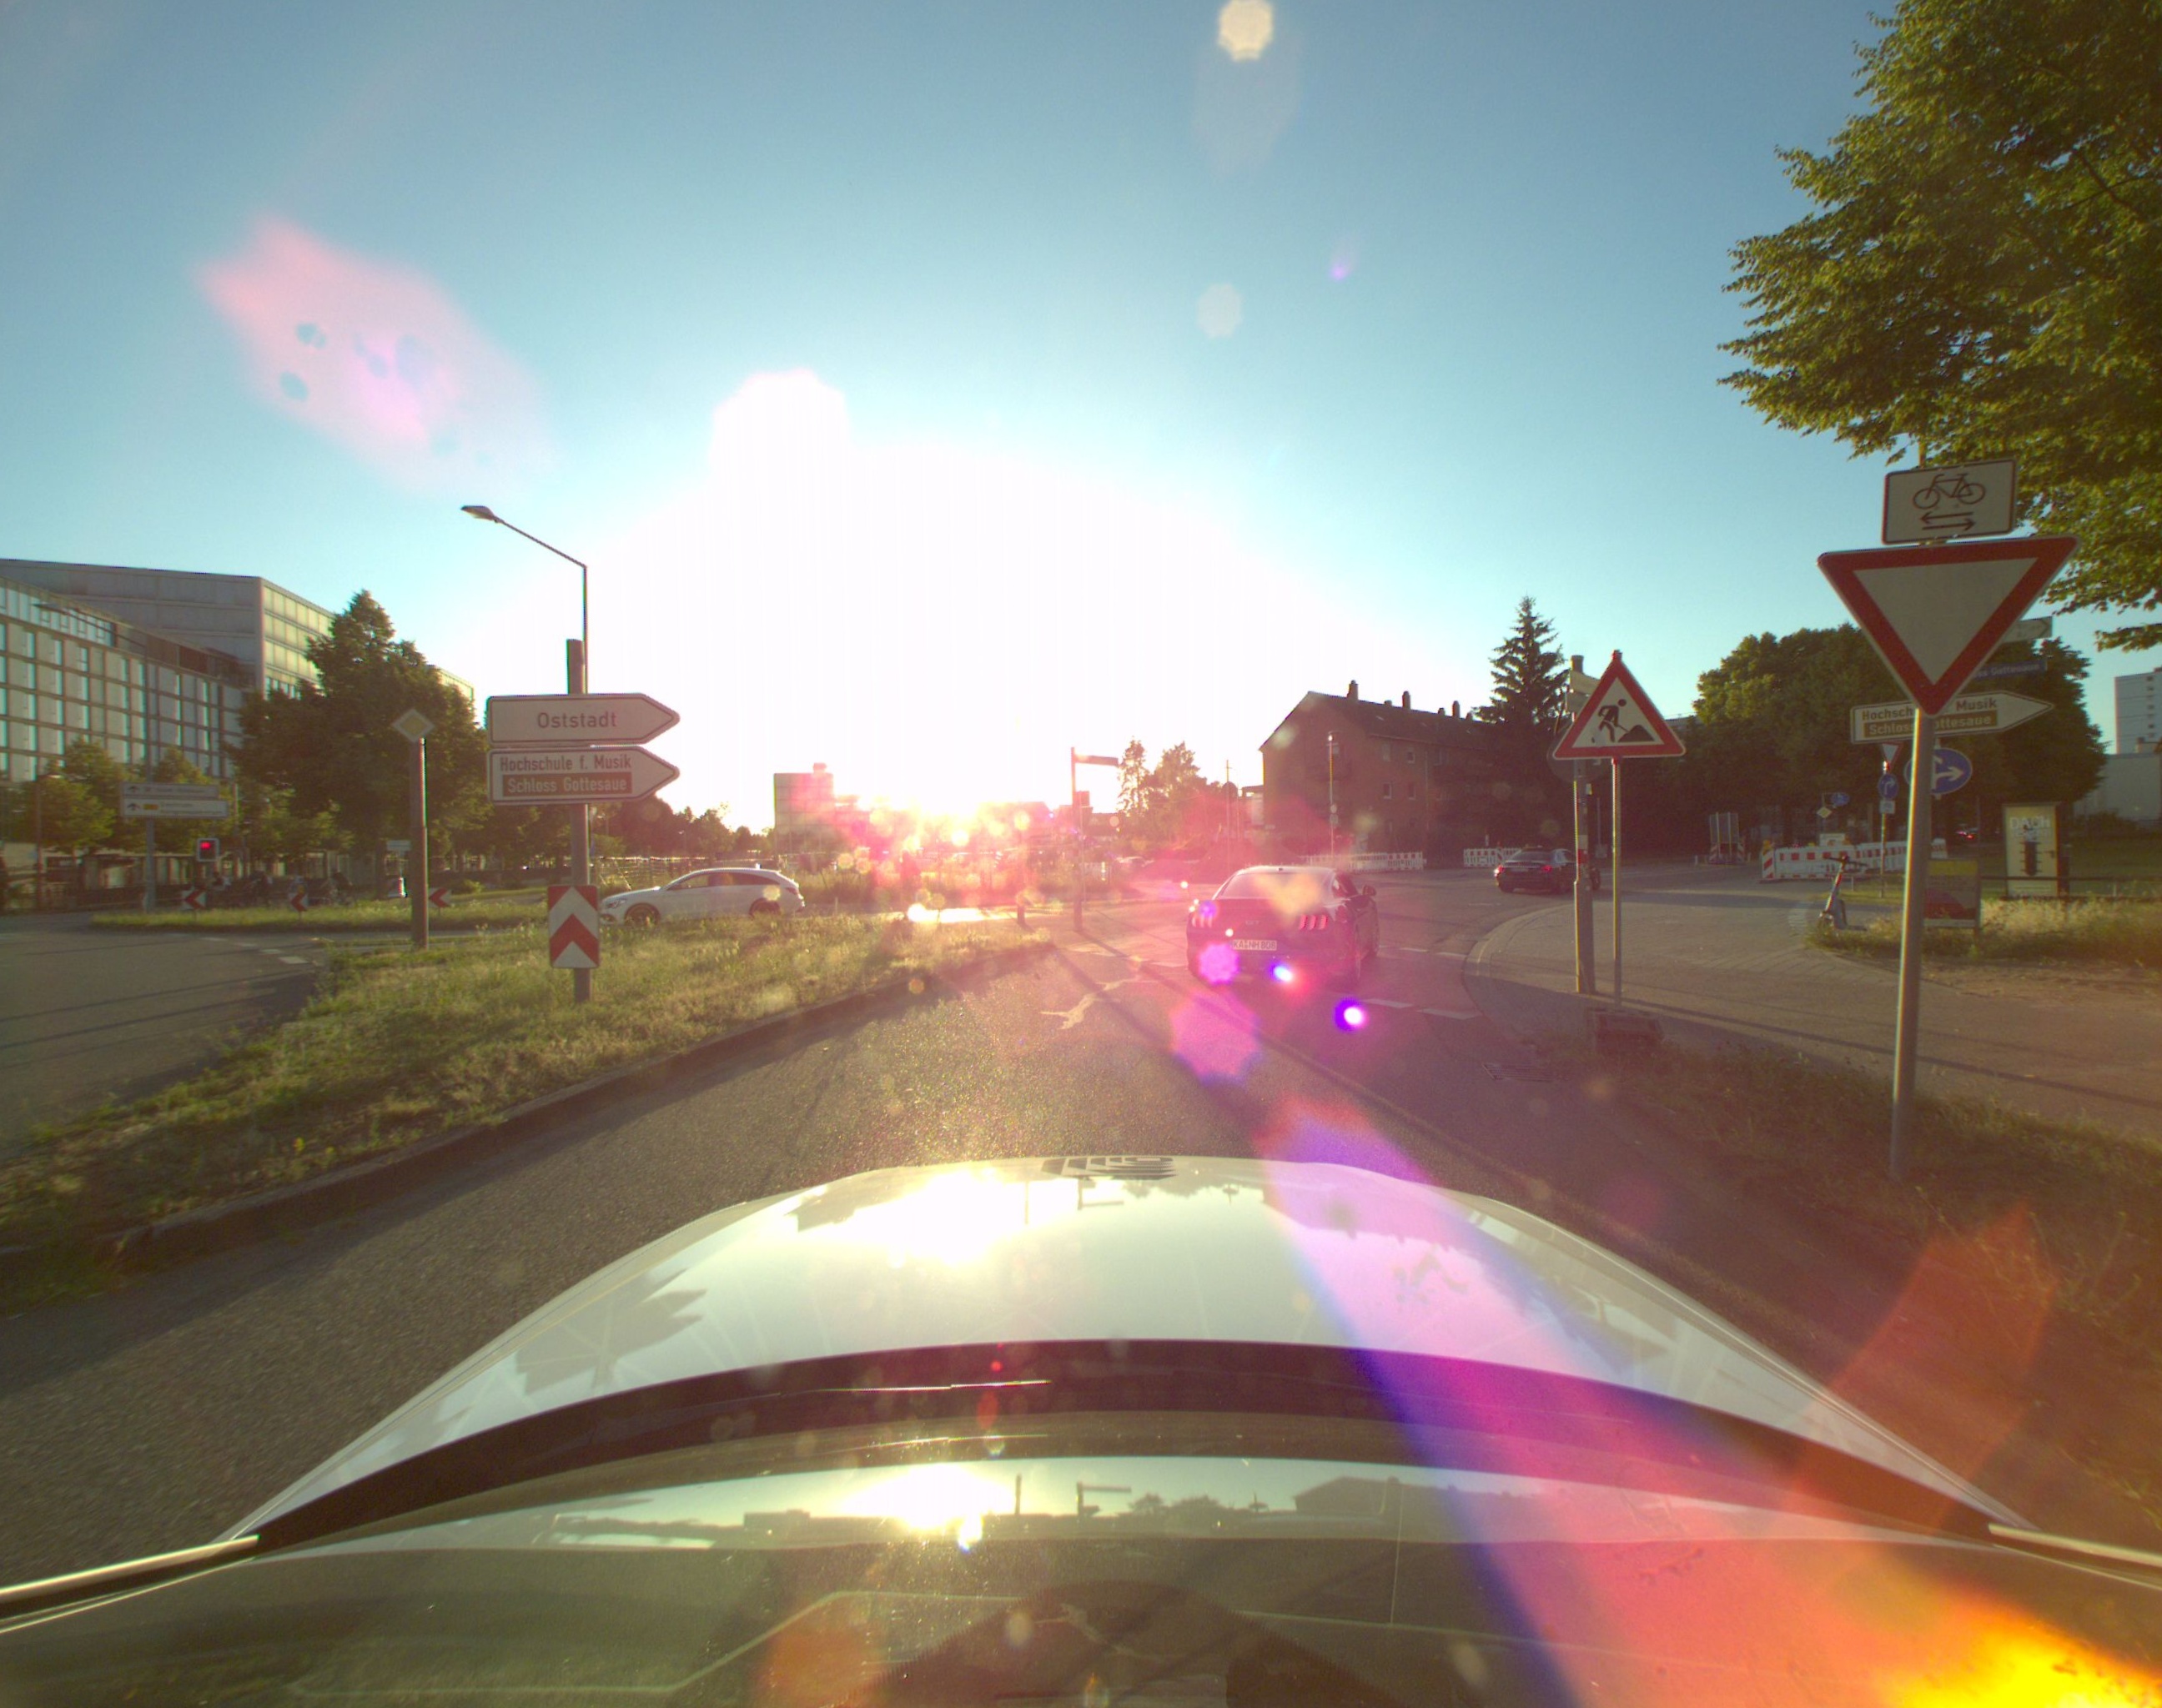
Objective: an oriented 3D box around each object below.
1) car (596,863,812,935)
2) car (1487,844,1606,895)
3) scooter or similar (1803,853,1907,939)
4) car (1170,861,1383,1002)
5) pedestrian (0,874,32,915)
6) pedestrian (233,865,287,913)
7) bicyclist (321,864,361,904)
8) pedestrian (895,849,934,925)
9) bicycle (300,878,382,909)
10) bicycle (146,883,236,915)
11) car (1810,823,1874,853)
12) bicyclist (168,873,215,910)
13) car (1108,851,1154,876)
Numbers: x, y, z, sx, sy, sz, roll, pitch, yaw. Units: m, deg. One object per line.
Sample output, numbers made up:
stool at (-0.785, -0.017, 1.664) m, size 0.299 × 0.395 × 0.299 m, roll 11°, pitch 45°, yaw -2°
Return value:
car at (-9.351, 1.048, 20.421) m, size 4.668 × 1.453 × 2.056 m, roll -2°, pitch 0°, yaw -28°
car at (15.048, 0.428, 26.237) m, size 4.452 × 1.427 × 1.935 m, roll -2°, pitch 2°, yaw -40°
scooter or similar at (11.560, 0.613, 12.174) m, size 1.116 × 1.238 × 0.442 m, roll -1°, pitch 0°, yaw 1°
car at (2.795, 0.797, 10.679) m, size 1.934 × 1.342 × 4.696 m, roll -1°, pitch 0°, yaw 23°
pedestrian at (-45.628, 1.720, 34.682) m, size 0.890 × 1.707 × 0.788 m, roll -1°, pitch 0°, yaw -25°
pedestrian at (-33.070, 1.398, 32.813) m, size 1.153 × 1.827 × 0.980 m, roll -1°, pitch 0°, yaw 4°
bicyclist at (-30.872, 1.232, 33.993) m, size 0.977 × 1.612 × 0.750 m, roll -1°, pitch 0°, yaw -19°
pedestrian at (-3.886, 0.748, 18.979) m, size 0.844 × 1.686 × 0.883 m, roll -1°, pitch 0°, yaw -13°
bicycle at (-30.875, 1.623, 34.013) m, size 2.409 × 1.167 × 0.750 m, roll -1°, pitch 0°, yaw -19°
bicycle at (-35.433, 1.780, 32.449) m, size 2.402 × 1.167 × 0.752 m, roll -1°, pitch 0°, yaw -11°
car at (44.043, -0.948, 47.093) m, size 4.450 × 1.571 × 1.936 m, roll -3°, pitch 2°, yaw -37°
bicyclist at (-35.426, 1.492, 32.431) m, size 0.975 × 1.394 × 0.752 m, roll -1°, pitch 0°, yaw -10°
car at (3.672, 0.693, 60.726) m, size 2.000 × 1.706 × 3.973 m, roll -1°, pitch 0°, yaw -20°
